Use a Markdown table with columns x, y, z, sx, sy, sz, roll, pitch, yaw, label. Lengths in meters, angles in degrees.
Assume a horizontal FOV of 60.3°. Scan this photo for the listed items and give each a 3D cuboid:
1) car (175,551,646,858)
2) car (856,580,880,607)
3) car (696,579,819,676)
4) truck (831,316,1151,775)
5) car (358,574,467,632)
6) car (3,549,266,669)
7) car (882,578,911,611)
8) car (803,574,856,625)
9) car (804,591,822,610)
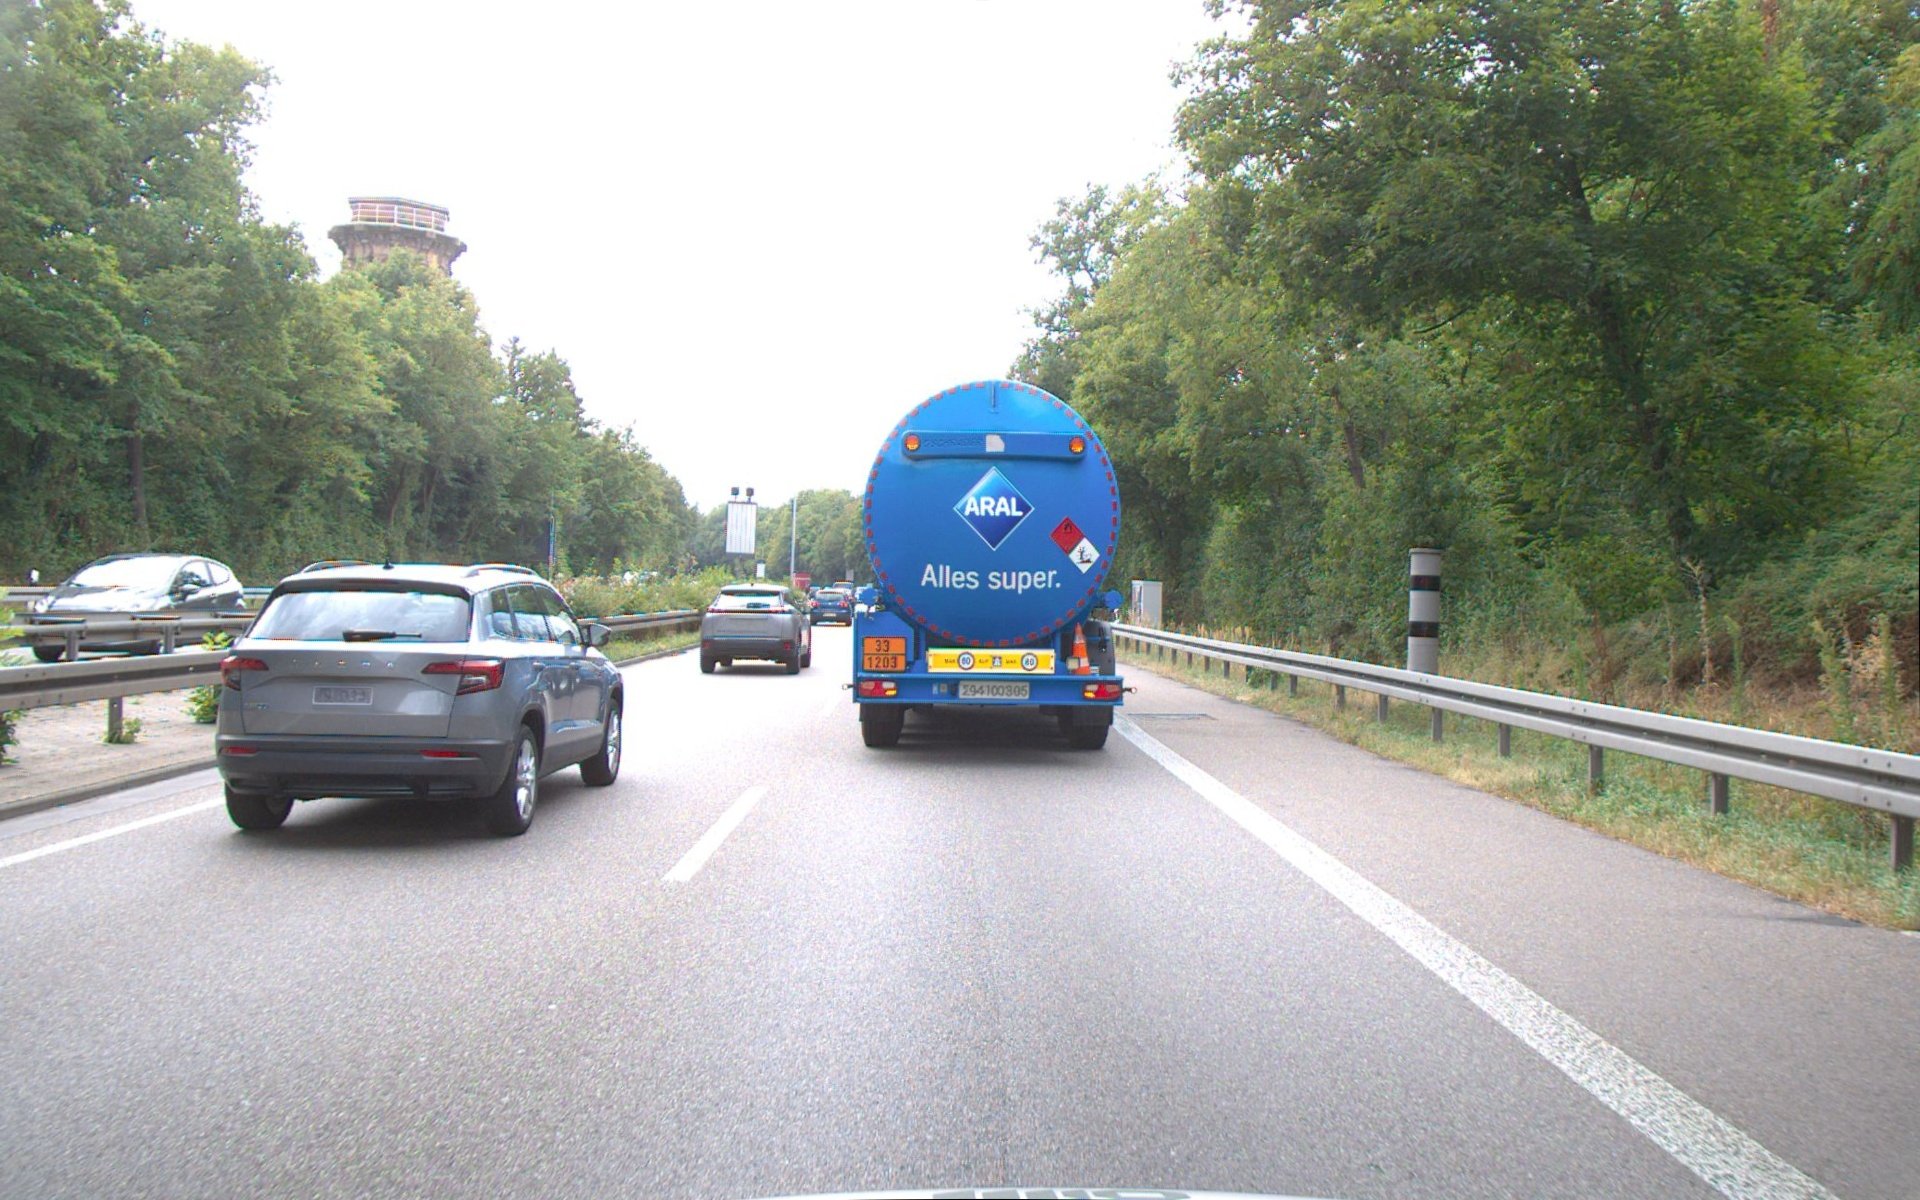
| x | y | z | sx | sy | sz | roll | pitch | yaw | label |
| --- | --- | --- | --- | --- | --- | --- | --- | --- | --- |
| -3.381 | 0.578 | 11.078 | 1.789 | 1.637 | 4.166 | 1 | 0 | -1 | car |
| -8.041 | -0.585 | 144.660 | 1.953 | 2.284 | 3.999 | 1 | 0 | -1 | car |
| -3.656 | 0.482 | 30.467 | 1.789 | 1.637 | 4.166 | 1 | 0 | -1 | car |
| 0.217 | -0.452 | 18.096 | 2.699 | 3.914 | 7.686 | 1 | 0 | -1 | truck |
| -16.722 | 0.092 | 50.755 | 1.855 | 1.681 | 4.638 | 1 | 0 | -1 | car |
| -11.264 | 0.124 | 22.900 | 1.654 | 1.489 | 3.989 | 1 | 0 | -1 | car |
| -4.424 | -0.373 | 116.351 | 1.953 | 2.284 | 3.999 | 1 | 0 | -1 | car |
| -5.427 | -0.001 | 69.233 | 1.953 | 2.049 | 3.999 | 1 | 0 | -1 | car |
| -17.899 | 0.054 | 201.486 | 1.956 | 2.284 | 3.993 | 1 | 0 | -8 | car |
